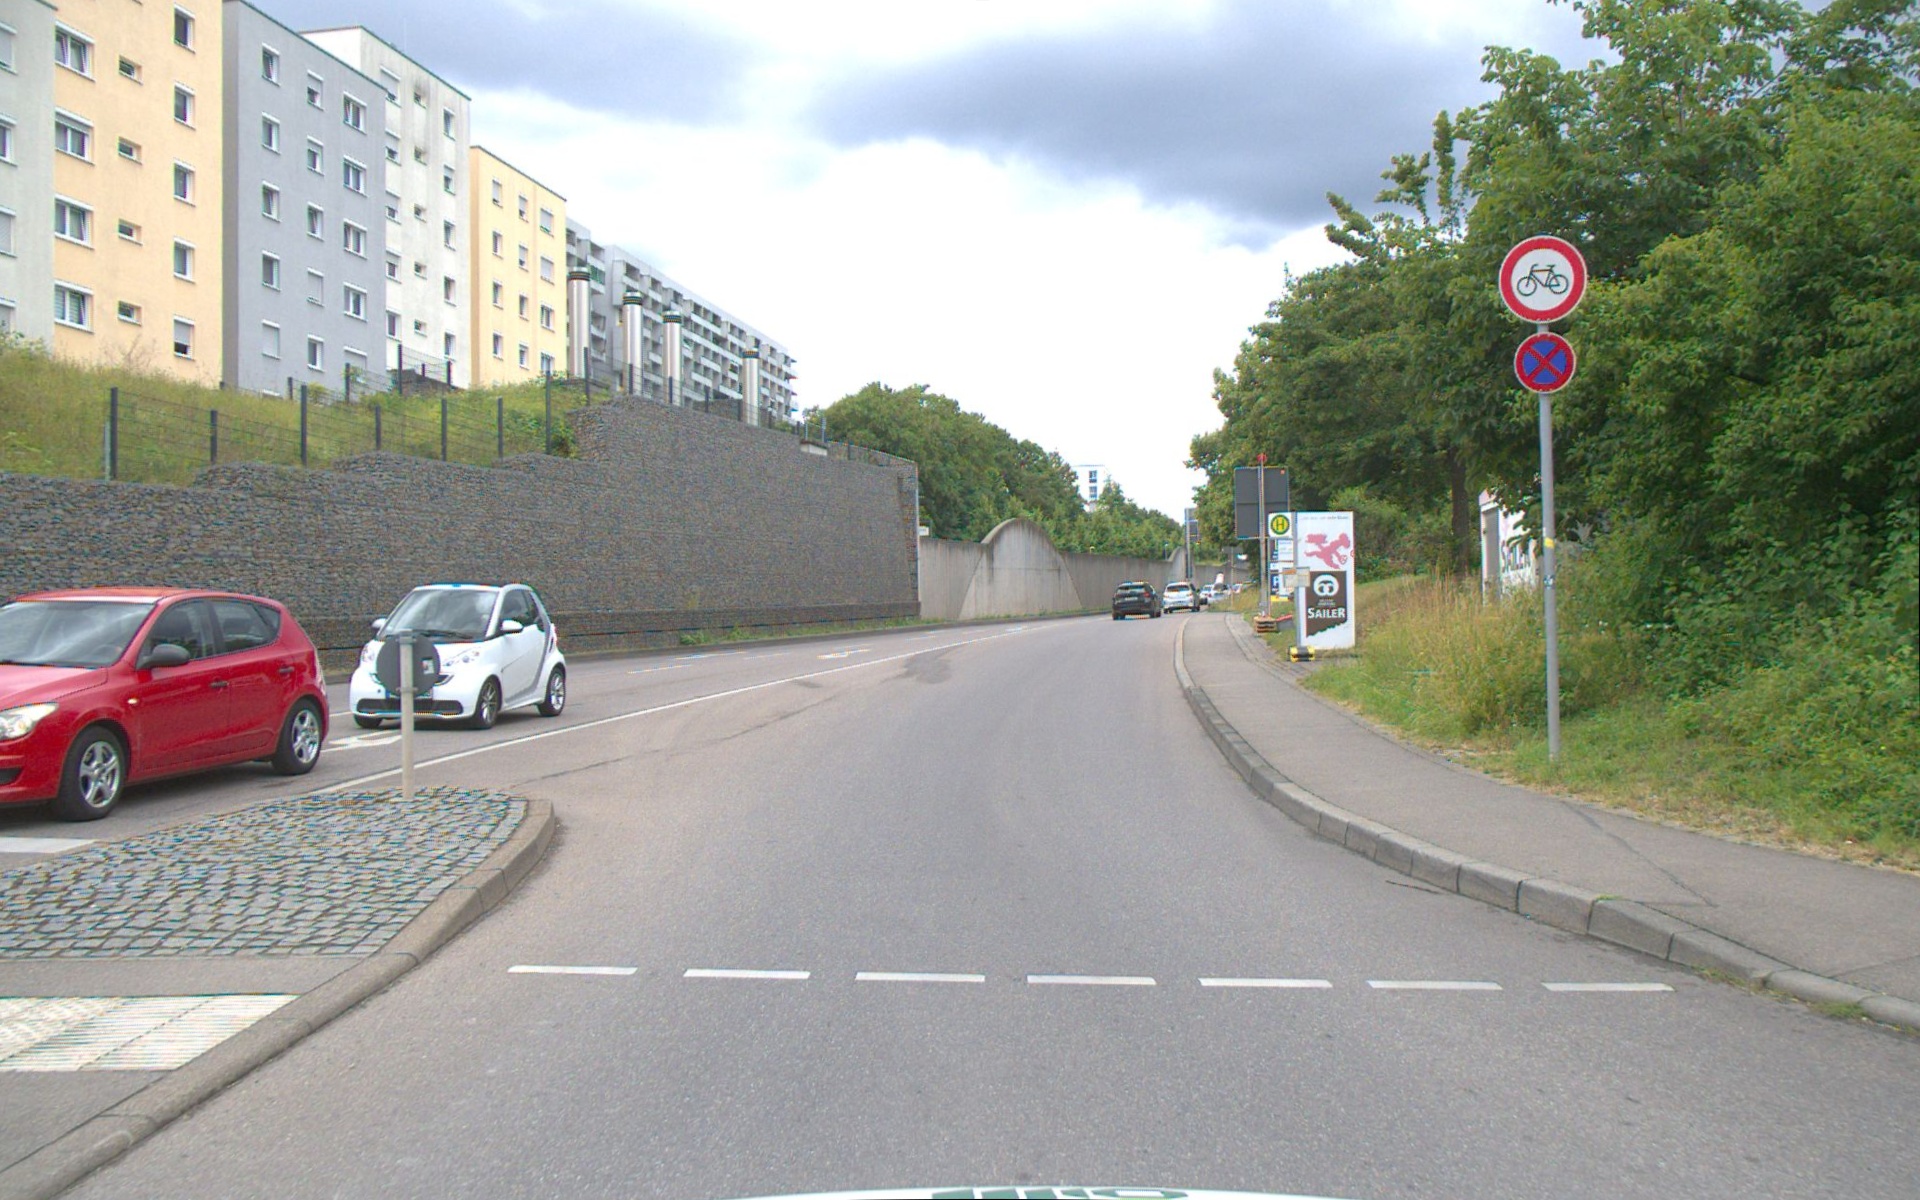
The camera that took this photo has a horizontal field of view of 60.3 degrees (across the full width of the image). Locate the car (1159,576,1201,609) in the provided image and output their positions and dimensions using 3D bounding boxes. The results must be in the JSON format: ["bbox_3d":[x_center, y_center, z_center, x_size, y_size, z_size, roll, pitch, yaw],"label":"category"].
[{"bbox_3d":[11.213,-0.372,84.041,1.717,1.550,4.039,0,-1,14],"label":"car"}]

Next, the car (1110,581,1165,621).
[{"bbox_3d":[7.288,0.063,67.739,1.717,1.550,4.039,0,-1,13],"label":"car"}]

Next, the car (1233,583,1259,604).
[{"bbox_3d":[22.942,-0.520,132.662,1.717,1.560,4.257,0,-1,14],"label":"car"}]

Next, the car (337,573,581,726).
[{"bbox_3d":[-5.483,0.488,18.424,1.510,1.550,2.916,0,1,8],"label":"car"}]

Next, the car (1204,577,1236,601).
[{"bbox_3d":[17.336,-0.724,110.100,1.827,1.516,4.260,0,0,13],"label":"car"}]

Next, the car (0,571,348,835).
[{"bbox_3d":[-6.166,0.588,11.827,1.717,1.550,4.095,1,0,6],"label":"car"}]

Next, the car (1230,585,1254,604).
[{"bbox_3d":[26.444,-0.518,155.154,1.850,1.660,4.429,-3,0,14],"label":"car"}]
